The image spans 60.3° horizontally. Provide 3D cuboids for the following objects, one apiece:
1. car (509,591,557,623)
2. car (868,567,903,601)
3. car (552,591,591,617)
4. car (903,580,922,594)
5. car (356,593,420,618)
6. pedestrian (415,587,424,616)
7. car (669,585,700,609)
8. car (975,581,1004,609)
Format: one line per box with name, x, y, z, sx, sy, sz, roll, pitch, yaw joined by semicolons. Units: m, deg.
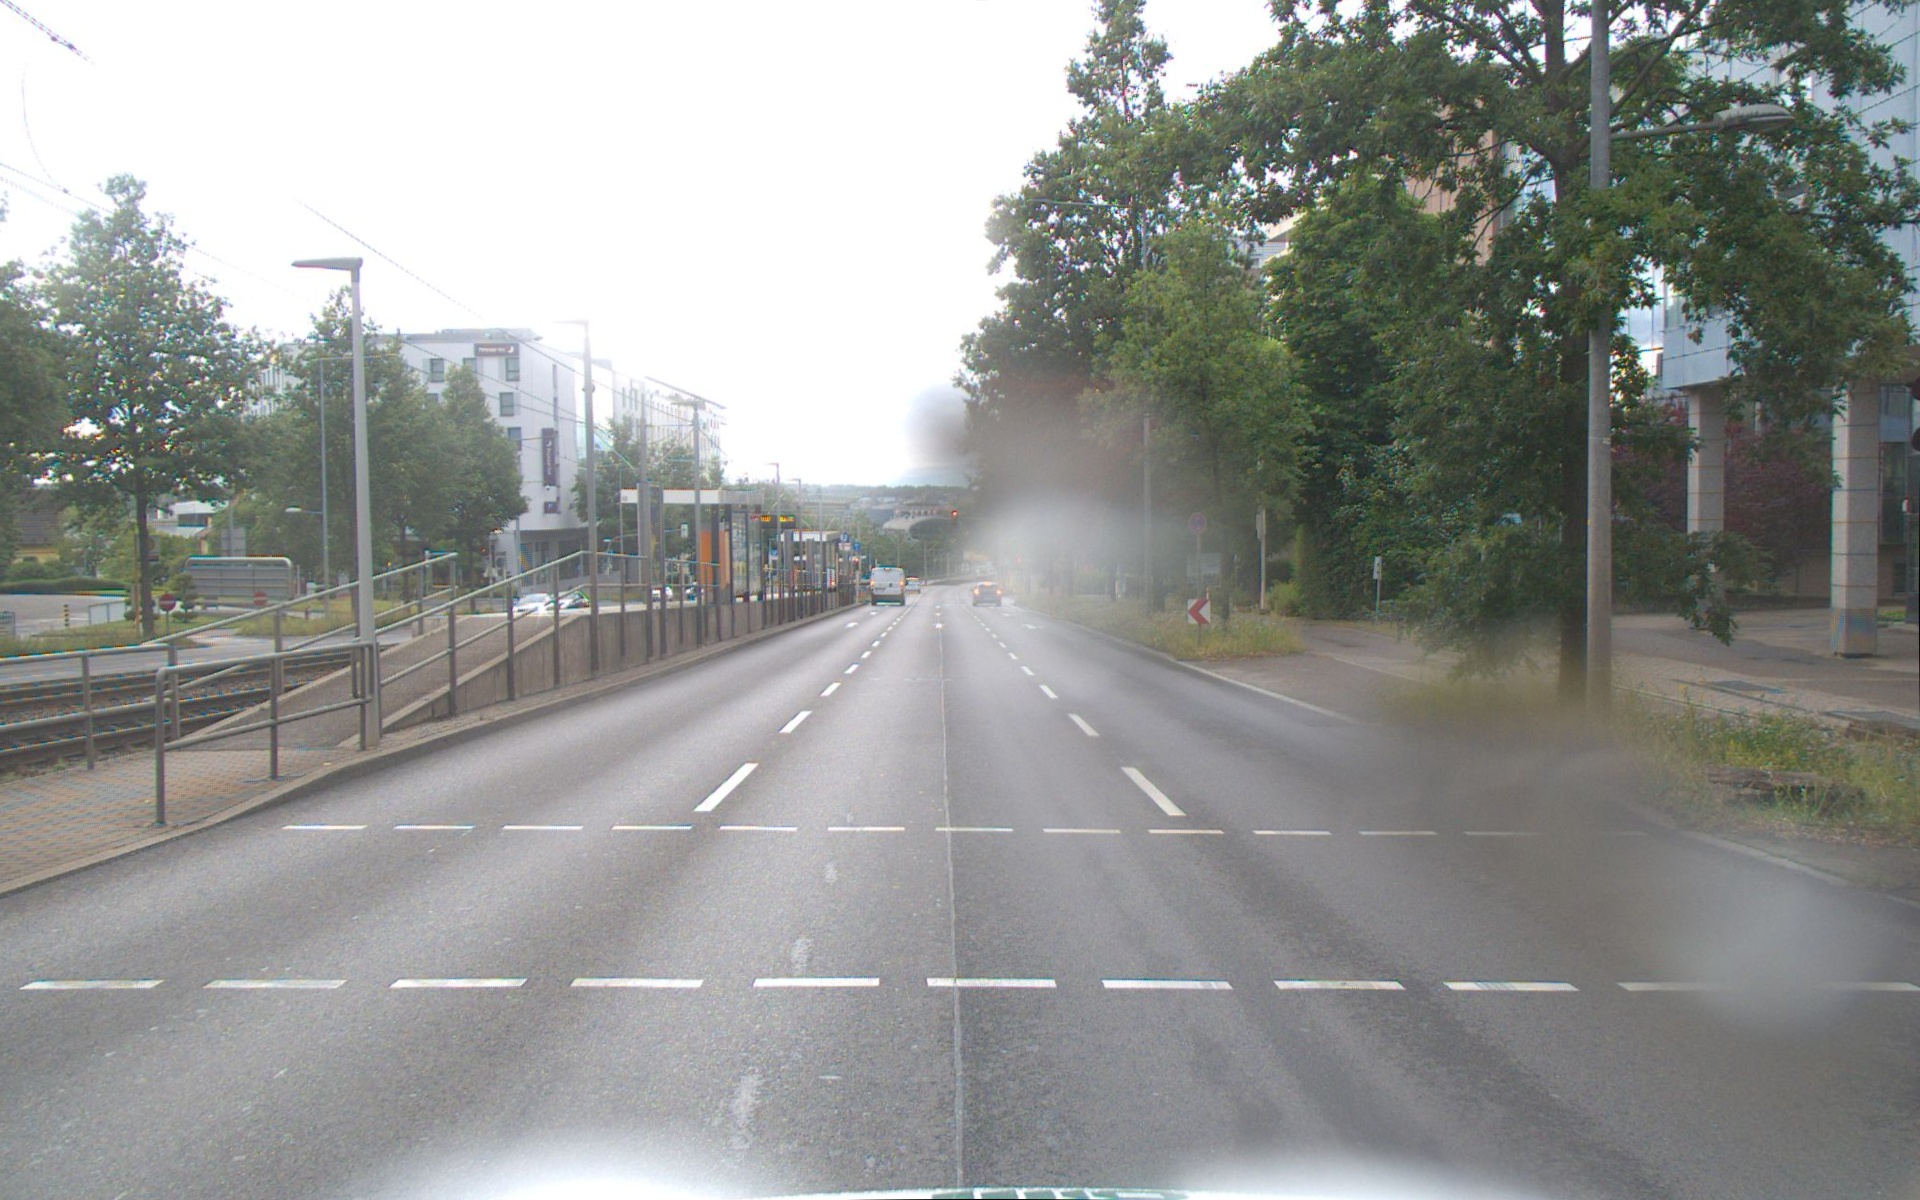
car;-21.117;0.324;81.900;1.618;1.461;3.875;-2;1;-5
car;-4.581;-0.981;102.419;2.050;2.089;4.605;0;1;-1
car;-21.777;0.216;92.788;1.536;1.402;3.517;0;1;-3
car;-4.740;-1.322;164.475;1.746;1.414;4.000;0;1;0
car;-33.017;0.309;95.473;3.297;1.411;1.434;0;1;16
pedestrian;-36.322;0.070;111.158;0.465;1.954;0.490;0;0;-1
car;-17.820;-0.168;106.884;1.622;1.461;3.866;-2;1;-14
car;1.815;-0.316;102.818;1.738;1.720;3.845;0;1;-1
